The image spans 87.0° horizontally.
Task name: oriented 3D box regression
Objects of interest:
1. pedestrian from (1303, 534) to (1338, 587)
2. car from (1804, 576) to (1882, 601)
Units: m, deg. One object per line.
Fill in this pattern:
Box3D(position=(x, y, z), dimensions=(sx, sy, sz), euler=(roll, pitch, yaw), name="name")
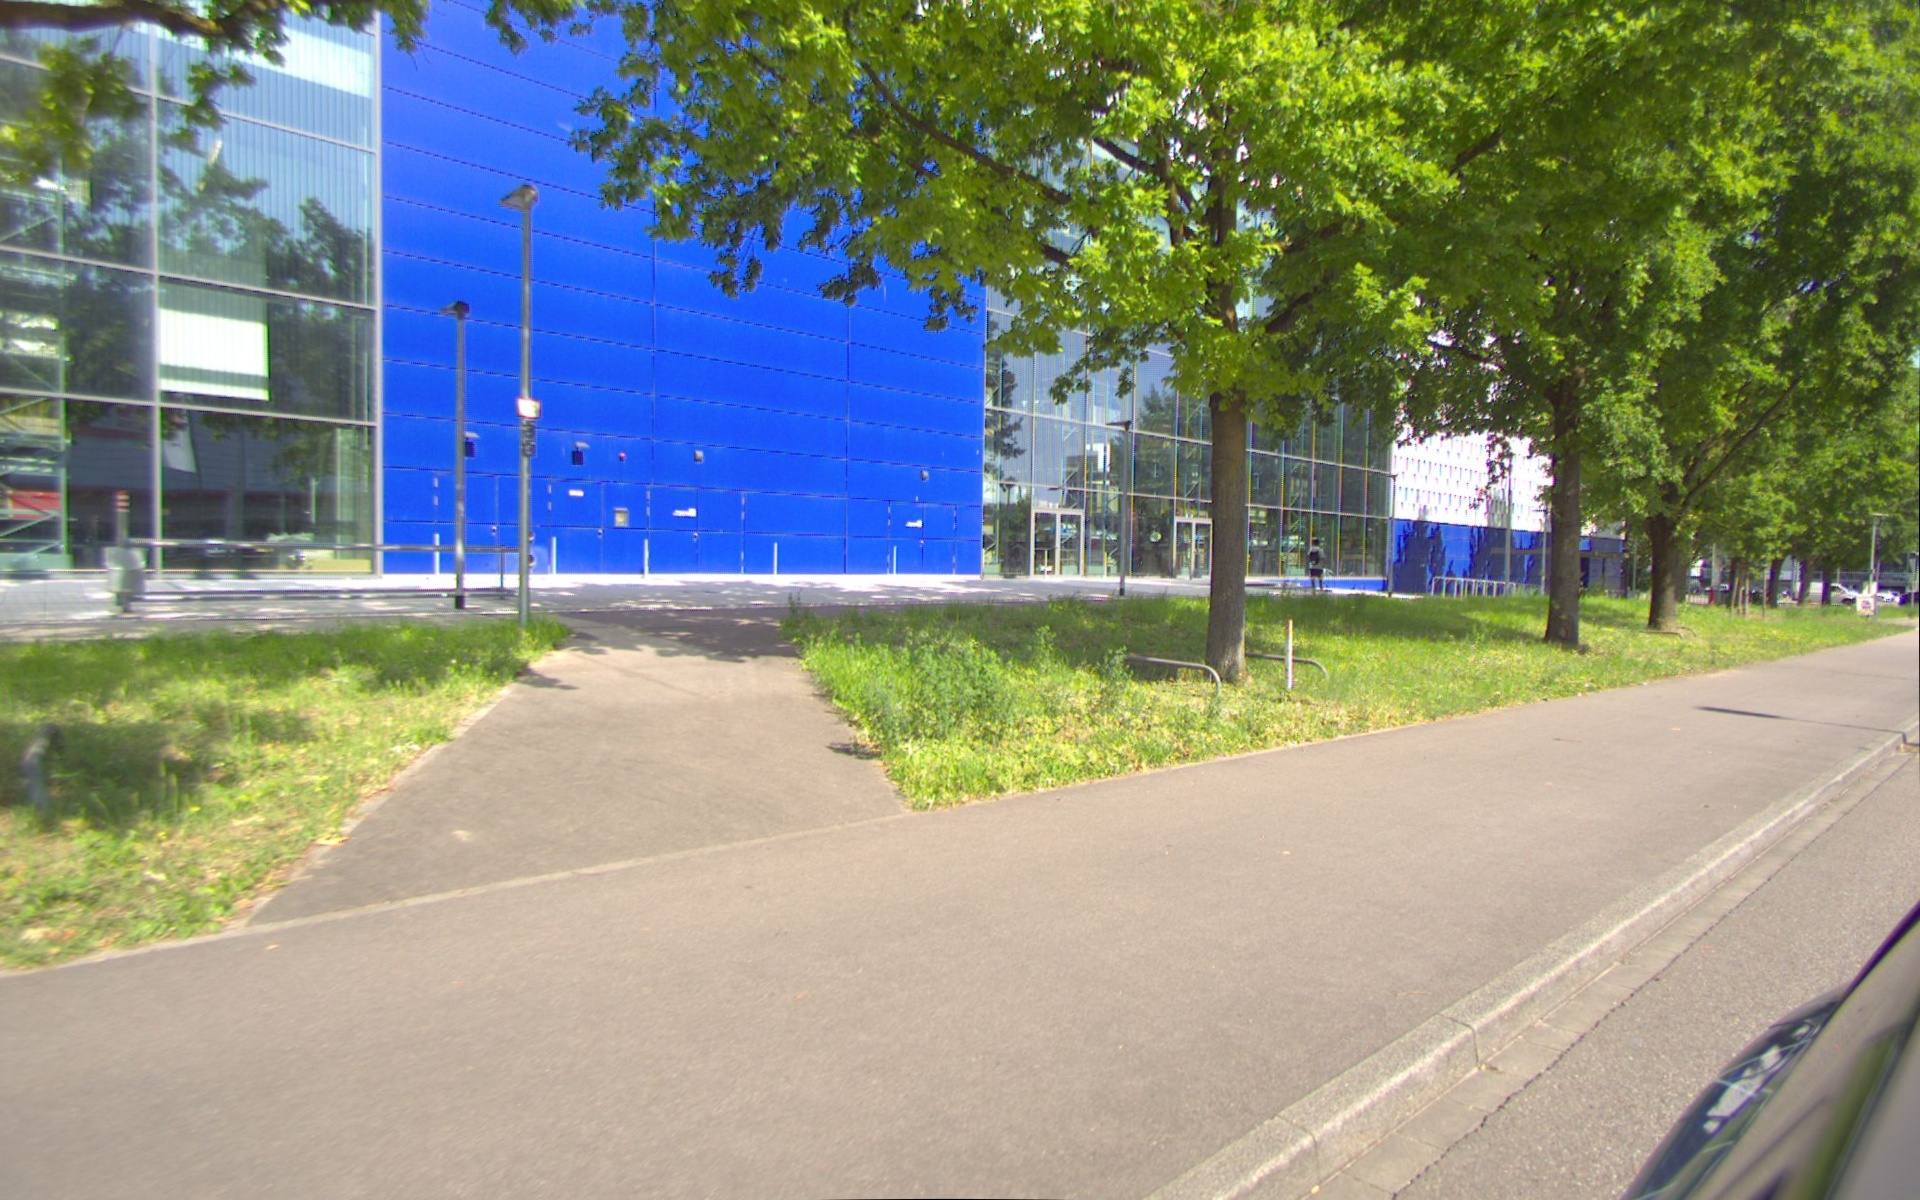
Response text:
Box3D(position=(11.306, -1.238, 31.729), dimensions=(0.759, 1.631, 0.689), euler=(0, 3, -44), name="pedestrian")
Box3D(position=(78.730, -1.055, 90.293), dimensions=(1.711, 2.031, 4.993), euler=(-2, 4, -42), name="car")
